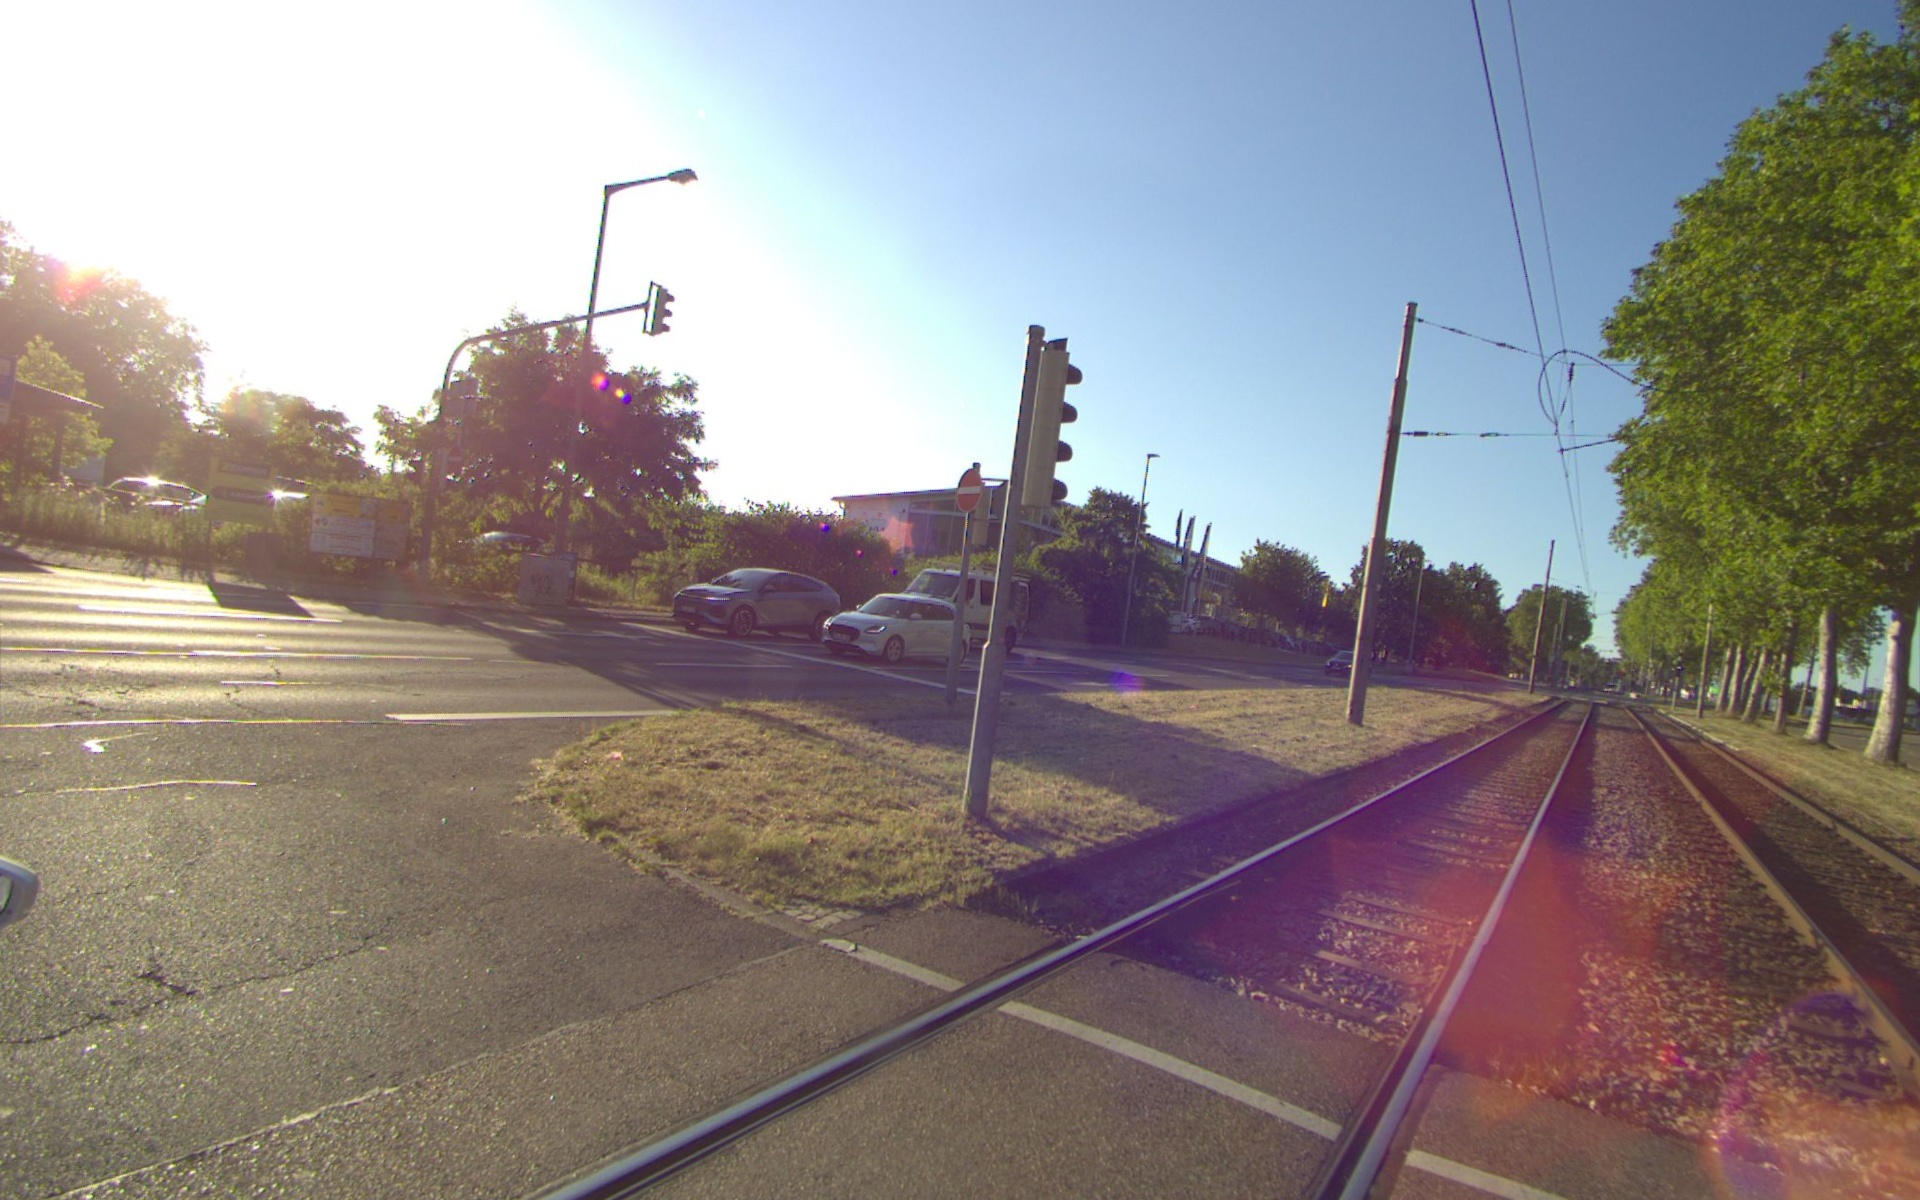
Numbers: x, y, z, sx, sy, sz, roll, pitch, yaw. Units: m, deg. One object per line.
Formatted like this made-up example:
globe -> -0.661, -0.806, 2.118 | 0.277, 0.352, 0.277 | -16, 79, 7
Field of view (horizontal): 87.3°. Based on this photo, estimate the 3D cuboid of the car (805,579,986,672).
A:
car -> -1.373, 0.626, 22.774 | 1.847, 1.638, 3.989 | 8, 0, 35

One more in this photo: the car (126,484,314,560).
car -> -23.754, -2.476, 32.449 | 2.085, 1.668, 4.312 | 9, 0, 32

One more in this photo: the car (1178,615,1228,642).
car -> 19.523, 2.322, 80.818 | 3.728, 1.586, 1.760 | 8, 1, 15

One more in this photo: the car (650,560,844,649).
car -> -5.076, 0.180, 24.591 | 1.845, 1.638, 4.538 | 8, 0, 33

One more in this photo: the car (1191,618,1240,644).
car -> 21.120, 2.567, 83.195 | 3.728, 1.586, 1.760 | 8, 1, 15

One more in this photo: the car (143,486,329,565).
car -> -21.849, -2.215, 30.501 | 2.085, 1.668, 3.992 | 9, 0, 32

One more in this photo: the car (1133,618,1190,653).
car -> 14.484, 2.549, 72.194 | 3.728, 1.883, 1.760 | 8, 1, 15

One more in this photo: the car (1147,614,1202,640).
car -> 15.962, 2.025, 74.796 | 3.728, 1.405, 1.760 | 8, 0, 15

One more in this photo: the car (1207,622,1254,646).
car -> 23.729, 2.968, 88.241 | 3.728, 1.586, 1.760 | 8, 1, 15

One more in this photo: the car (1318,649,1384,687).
car -> 22.377, 3.892, 57.464 | 3.974, 1.704, 1.792 | 8, 0, -43

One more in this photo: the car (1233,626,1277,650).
car -> 27.385, 3.526, 93.419 | 3.728, 1.586, 1.760 | 8, 1, 15

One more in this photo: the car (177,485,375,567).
car -> -19.952, -2.120, 29.523 | 2.085, 1.668, 4.219 | 9, 0, 32

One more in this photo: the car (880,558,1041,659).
car -> 0.165, 0.378, 32.379 | 1.977, 2.597, 5.861 | 8, 0, 34

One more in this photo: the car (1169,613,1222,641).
car -> 18.152, 2.110, 77.578 | 3.728, 1.586, 1.760 | 8, 1, 15

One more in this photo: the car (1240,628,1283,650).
car -> 28.716, 3.731, 95.887 | 3.728, 1.586, 1.760 | 8, 1, 15

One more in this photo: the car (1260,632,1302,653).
car -> 32.186, 4.261, 100.931 | 3.728, 1.586, 1.760 | 8, 1, 15

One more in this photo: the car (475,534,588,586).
car -> -19.005, -1.745, 44.686 | 2.091, 1.656, 3.981 | 9, 0, 42

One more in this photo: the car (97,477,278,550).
car -> -26.178, -2.889, 34.232 | 2.085, 1.668, 4.312 | 9, 0, 32

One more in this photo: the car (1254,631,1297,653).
car -> 30.876, 4.060, 98.466 | 3.728, 1.586, 1.760 | 8, 1, 15
